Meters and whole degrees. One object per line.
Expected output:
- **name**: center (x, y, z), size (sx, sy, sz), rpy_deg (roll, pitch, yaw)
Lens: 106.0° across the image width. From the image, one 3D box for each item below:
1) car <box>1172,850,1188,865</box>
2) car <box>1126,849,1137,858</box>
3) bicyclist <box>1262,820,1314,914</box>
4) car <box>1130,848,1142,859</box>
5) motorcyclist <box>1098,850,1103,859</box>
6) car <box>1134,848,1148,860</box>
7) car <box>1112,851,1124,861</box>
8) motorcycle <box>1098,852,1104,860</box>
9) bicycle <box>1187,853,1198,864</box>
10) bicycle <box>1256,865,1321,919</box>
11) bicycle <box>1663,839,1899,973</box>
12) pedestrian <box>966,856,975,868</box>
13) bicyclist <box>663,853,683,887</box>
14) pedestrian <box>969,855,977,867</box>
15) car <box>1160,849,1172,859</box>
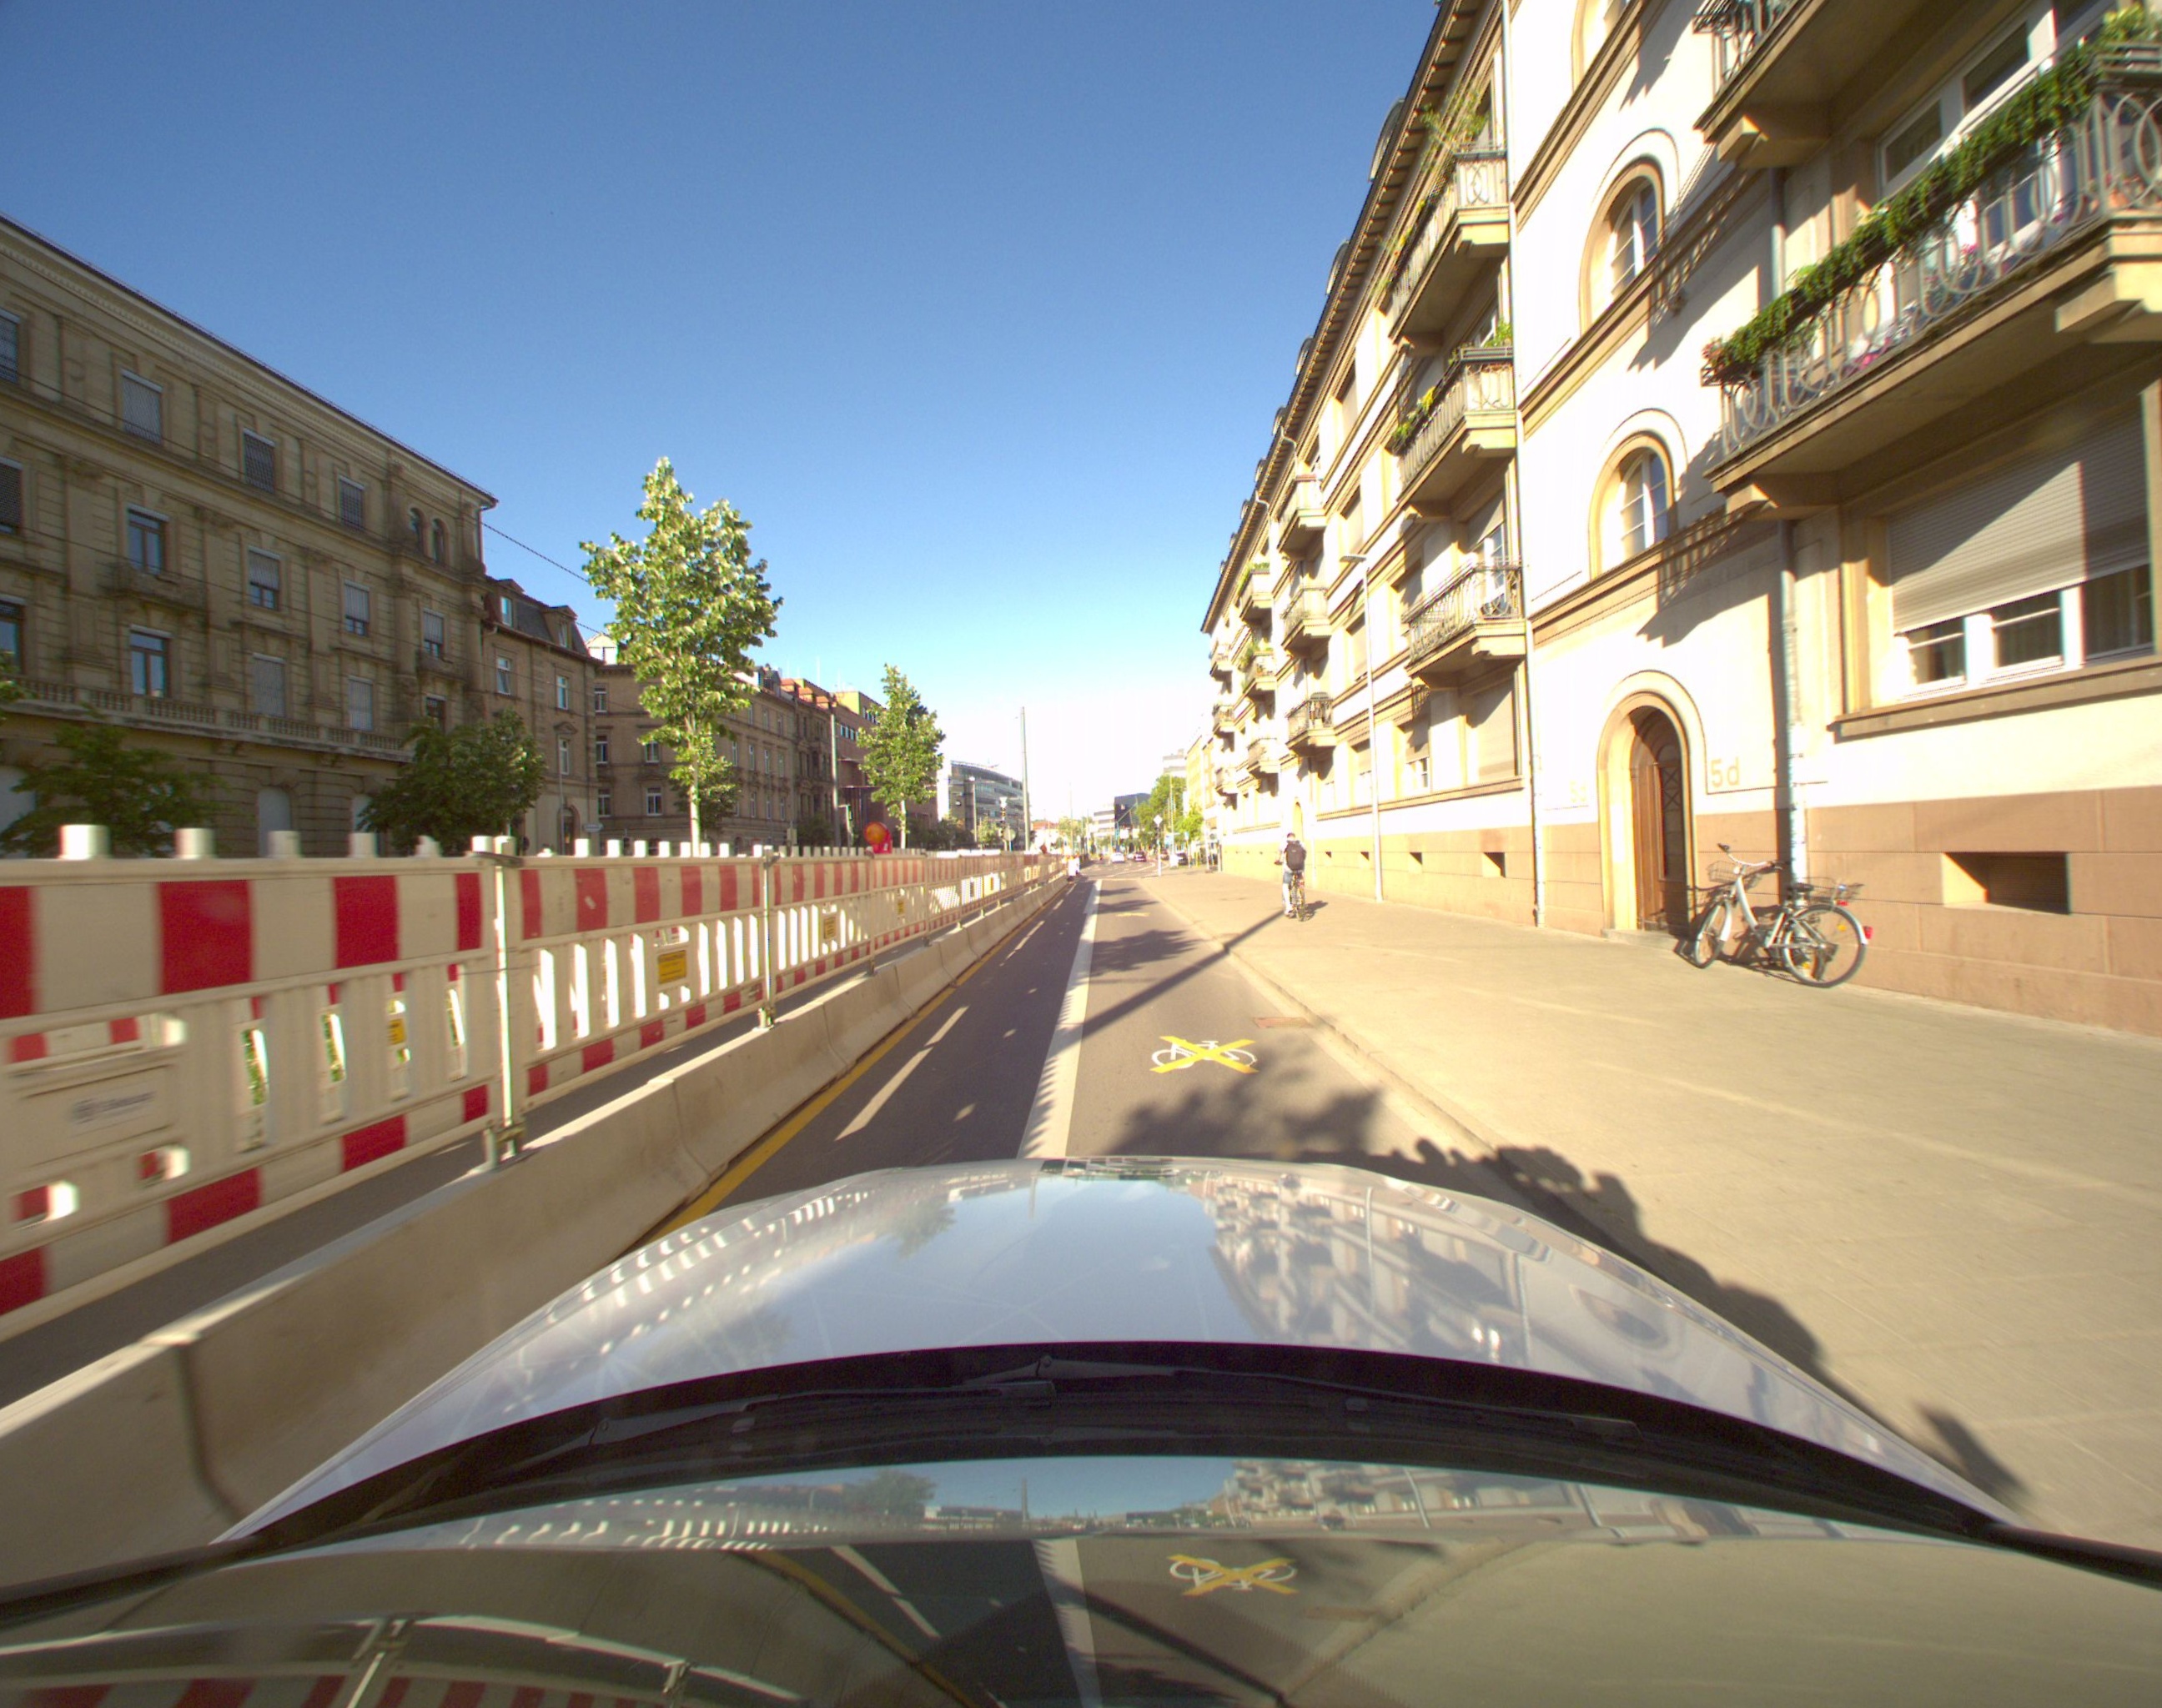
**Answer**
- **car**: center (11.882, 0.424, 97.160), size (1.711, 1.636, 4.241), rpy_deg (-3, 0, 8)
- **car**: center (9.312, -0.085, 151.090), size (1.844, 1.497, 4.381), rpy_deg (-2, 0, 2)
- **bicyclist**: center (4.061, 0.243, 16.056), size (0.730, 1.763, 0.938), rpy_deg (-2, 0, 1)
- **car**: center (9.044, -0.055, 134.157), size (1.844, 1.639, 4.381), rpy_deg (-2, 0, 2)
- **motorcyclist**: center (3.529, 0.160, 146.622), size (1.015, 1.603, 1.149), rpy_deg (0, 0, 2)
- **car**: center (9.285, 0.018, 126.203), size (1.967, 1.759, 4.635), rpy_deg (0, 0, 3)
- **car**: center (5.444, 0.267, 120.758), size (1.773, 1.414, 4.821), rpy_deg (0, 0, 2)
- **motorcycle**: center (3.533, 0.335, 146.555), size (1.015, 1.312, 2.916), rpy_deg (0, 0, 3)
- **bicycle**: center (11.935, 0.504, 87.218), size (0.763, 1.081, 1.997), rpy_deg (-7, -1, -1)
- **bicycle**: center (4.102, 0.728, 16.286), size (0.764, 0.953, 2.199), rpy_deg (-2, 0, 1)
- **bicycle**: center (6.592, 0.427, 7.853), size (0.416, 1.095, 2.199), rpy_deg (-2, 0, 2)
- **pedestrian**: center (-11.841, 0.855, 87.417), size (0.718, 1.168, 0.722), rpy_deg (-4, 0, 2)
- **bicyclist**: center (-22.016, 0.853, 43.962), size (0.886, 1.773, 0.849), rpy_deg (-2, 0, -25)
- **pedestrian**: center (-11.838, 0.772, 89.458), size (0.643, 1.309, 0.722), rpy_deg (-4, 0, 2)
- **car**: center (14.397, -0.008, 138.300), size (1.839, 1.560, 4.636), rpy_deg (0, 2, 3)
